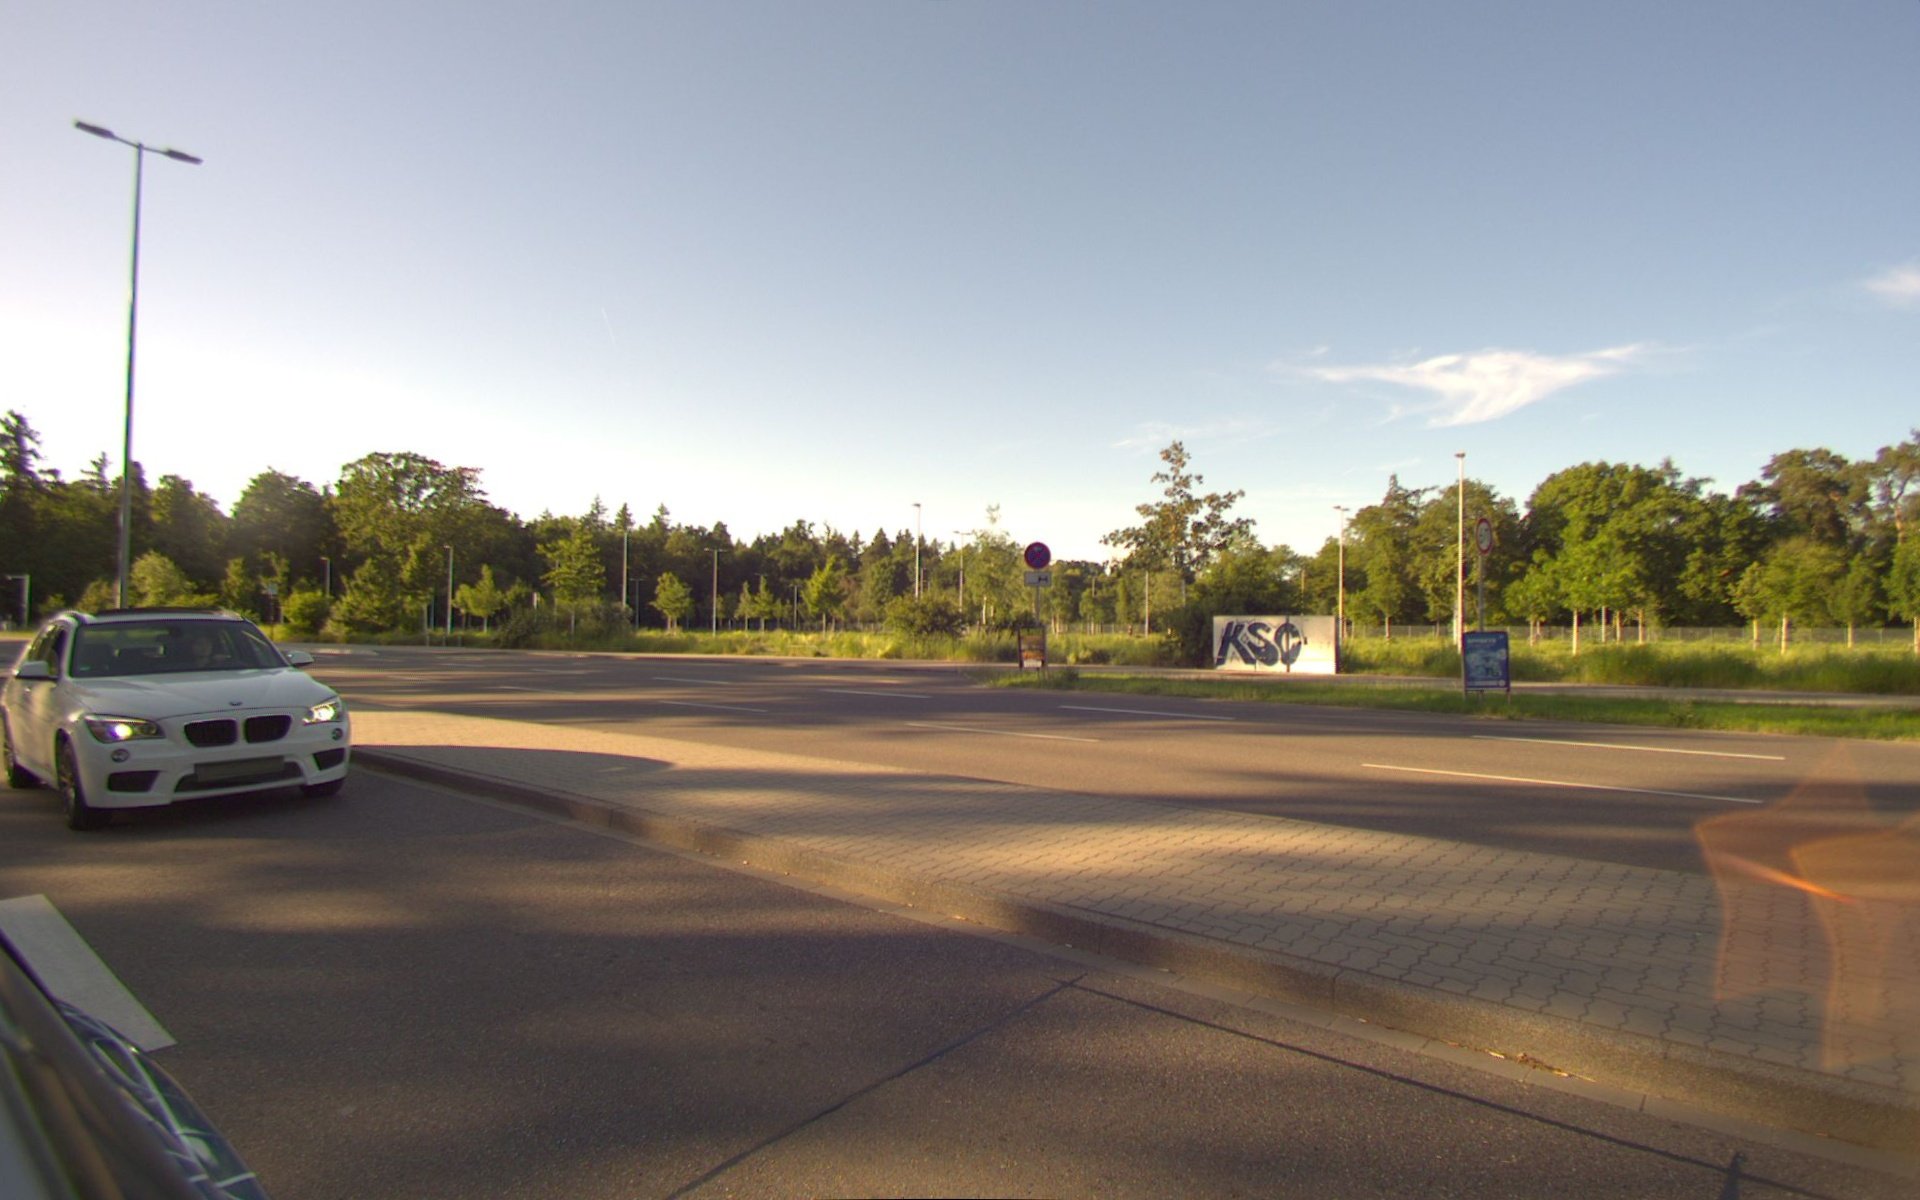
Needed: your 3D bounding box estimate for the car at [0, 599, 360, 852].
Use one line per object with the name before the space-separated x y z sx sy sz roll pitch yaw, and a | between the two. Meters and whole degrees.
car | -6.796 0.825 8.532 4.432 1.593 1.701 -1 0 41
